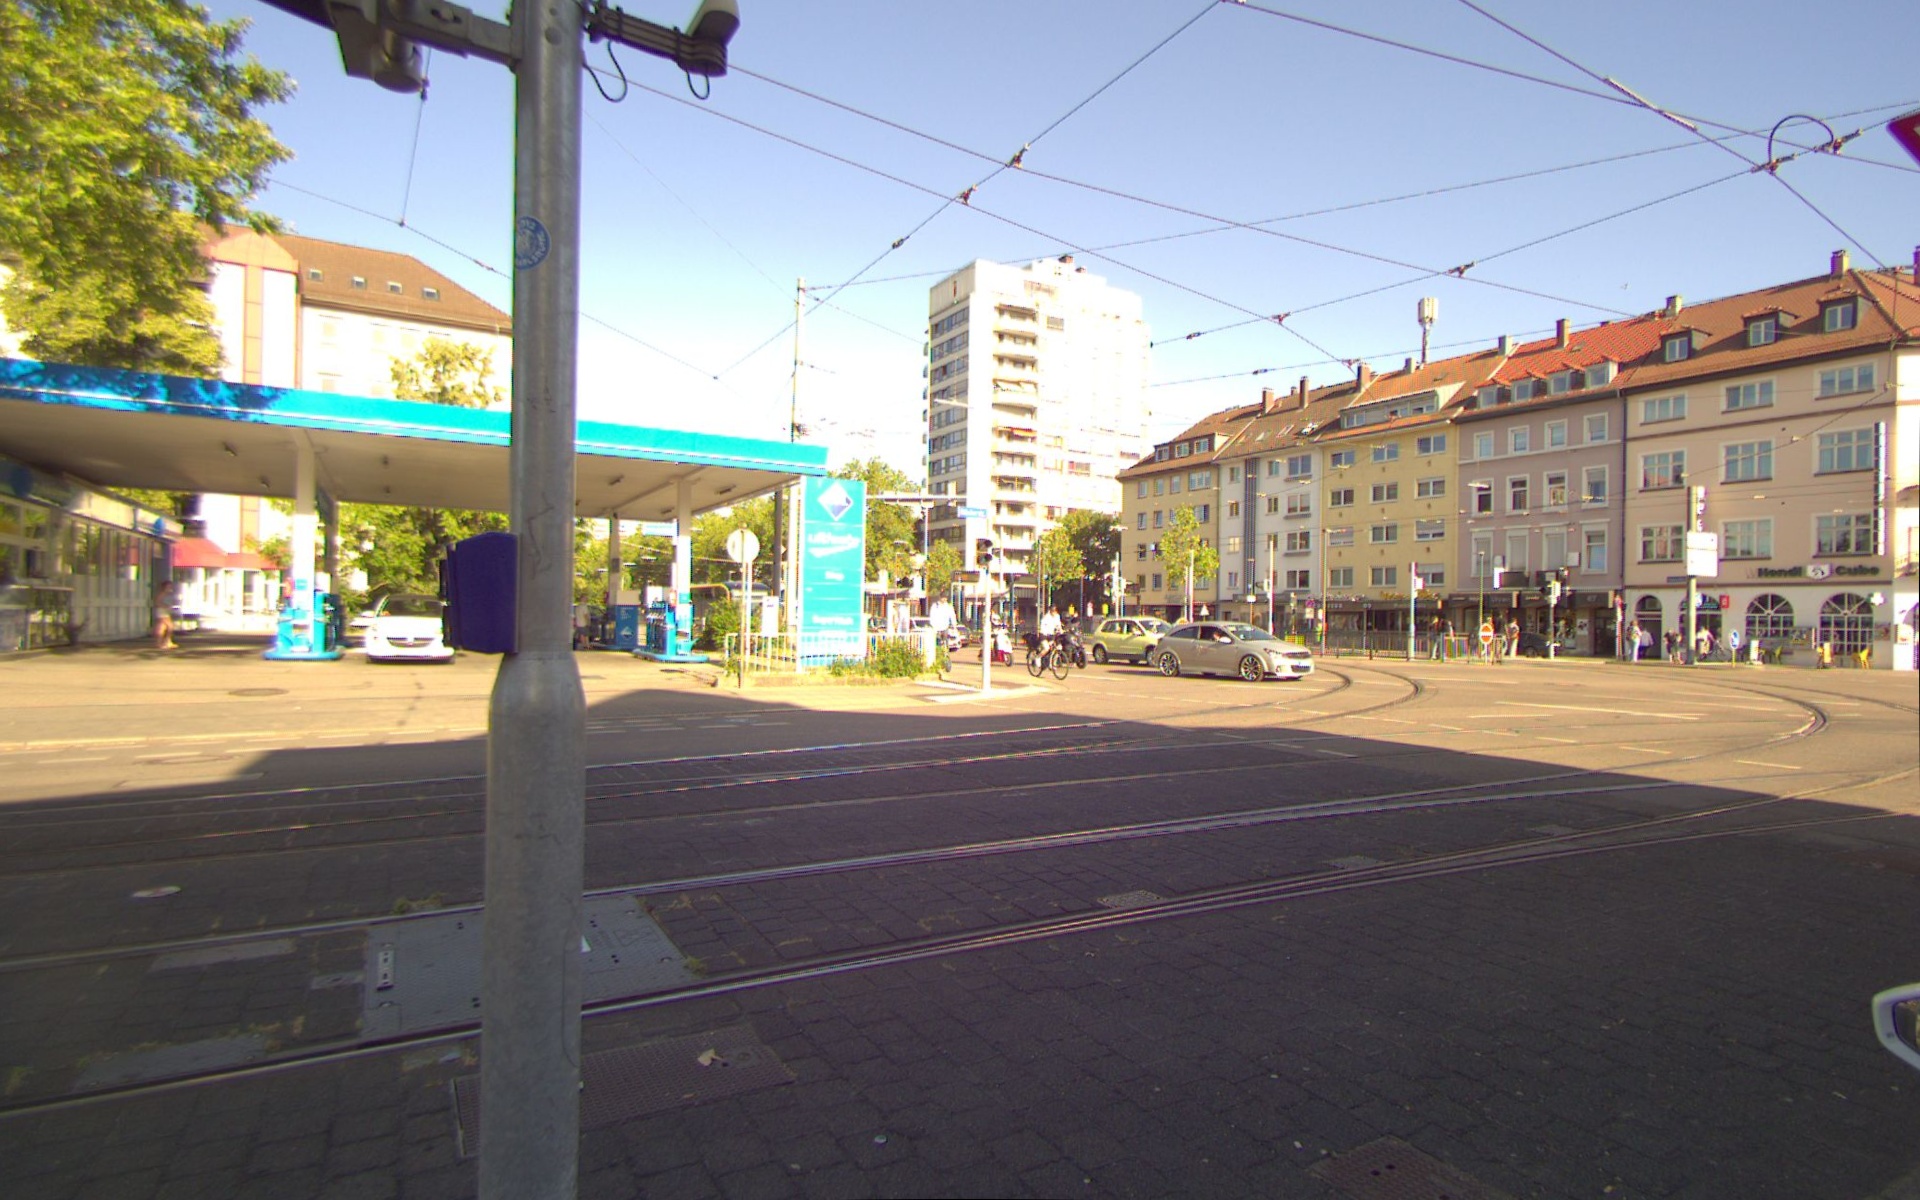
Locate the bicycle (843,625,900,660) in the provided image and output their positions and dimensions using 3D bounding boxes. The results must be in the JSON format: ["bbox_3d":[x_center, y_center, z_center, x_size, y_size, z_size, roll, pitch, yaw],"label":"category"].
[{"bbox_3d":[-3.037,1.433,34.238,1.047,1.116,2.500,1,-1,-29],"label":"bicycle"}]

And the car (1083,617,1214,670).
[{"bbox_3d":[5.780,1.305,31.178,1.724,1.518,3.929,1,-1,-35],"label":"car"}]

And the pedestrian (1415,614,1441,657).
[{"bbox_3d":[18.391,1.386,39.462,0.565,1.657,0.737,1,-1,-30],"label":"pedestrian"}]

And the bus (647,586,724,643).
[{"bbox_3d":[-18.147,0.859,65.891,2.755,3.504,8.571,0,1,-30],"label":"bus"}]

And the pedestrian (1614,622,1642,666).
[{"bbox_3d":[26.451,1.731,39.787,0.621,1.704,0.737,1,-1,-30],"label":"pedestrian"}]

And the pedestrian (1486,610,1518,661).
[{"bbox_3d":[20.119,1.315,37.302,0.714,1.853,0.763,1,-1,-30],"label":"pedestrian"}]

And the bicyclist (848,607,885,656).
[{"bbox_3d":[-3.234,1.064,34.604,0.923,1.659,1.020,1,-1,-29],"label":"bicyclist"}]

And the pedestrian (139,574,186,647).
[{"bbox_3d":[-18.984,0.250,23.917,0.751,1.715,0.583,1,-1,-28],"label":"pedestrian"}]

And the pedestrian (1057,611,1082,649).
[{"bbox_3d":[4.754,1.307,43.643,0.788,1.632,0.766,1,-1,-36],"label":"pedestrian"}]

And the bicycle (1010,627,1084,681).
[{"bbox_3d":[2.129,1.319,24.882,0.736,1.239,1.909,1,-1,-37],"label":"bicycle"}]

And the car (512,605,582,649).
[{"bbox_3d":[-13.578,0.852,32.880,1.697,1.360,3.970,1,-1,-28],"label":"car"}]

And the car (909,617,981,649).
[{"bbox_3d":[-0.775,1.530,47.871,1.697,1.439,4.149,1,-1,-28],"label":"car"}]

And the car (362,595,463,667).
[{"bbox_3d":[-12.357,0.666,22.559,1.793,1.461,3.966,1,-1,-31],"label":"car"}]

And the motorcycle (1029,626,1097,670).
[{"bbox_3d":[3.079,1.421,30.299,0.689,1.244,2.186,1,-1,-40],"label":"motorcycle"}]

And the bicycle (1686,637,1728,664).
[{"bbox_3d":[37.750,2.533,50.767,1.693,1.293,0.385,0,-1,44],"label":"bicycle"}]

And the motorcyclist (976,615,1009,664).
[{"bbox_3d":[1.018,1.245,31.783,0.654,1.527,0.807,1,-1,-41],"label":"motorcyclist"}]

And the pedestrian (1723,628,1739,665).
[{"bbox_3d":[26.961,1.631,35.139,0.447,1.270,0.361,1,-1,-41],"label":"pedestrian"}]

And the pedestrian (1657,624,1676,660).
[{"bbox_3d":[33.902,2.025,48.179,0.731,1.704,0.626,0,-1,35],"label":"pedestrian"}]

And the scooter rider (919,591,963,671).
[{"bbox_3d":[-0.463,0.751,24.601,0.788,1.937,0.791,1,0,-30],"label":"scooter rider"}]

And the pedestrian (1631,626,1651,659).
[{"bbox_3d":[36.252,2.244,53.491,0.623,1.704,0.734,1,-1,-41],"label":"pedestrian"}]

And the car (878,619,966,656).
[{"bbox_3d":[-1.699,1.571,43.503,1.723,1.492,4.644,1,-1,-33],"label":"car"}]

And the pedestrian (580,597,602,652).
[{"bbox_3d":[-11.836,0.780,32.209,0.579,1.715,0.756,1,-1,-25],"label":"pedestrian"}]

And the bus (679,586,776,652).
[{"bbox_3d":[-13.615,0.981,58.143,2.748,3.504,9.364,0,1,-31],"label":"bus"}]

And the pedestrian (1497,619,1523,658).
[{"bbox_3d":[24.181,1.681,44.153,0.621,1.704,0.763,1,-1,-30],"label":"pedestrian"}]

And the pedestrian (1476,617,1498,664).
[{"bbox_3d":[20.418,1.566,38.912,0.553,1.810,0.557,1,-1,-30],"label":"pedestrian"}]

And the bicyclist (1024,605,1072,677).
[{"bbox_3d":[2.166,1.004,24.839,0.727,1.735,0.932,1,-1,-37],"label":"bicyclist"}]

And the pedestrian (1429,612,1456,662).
[{"bbox_3d":[18.468,1.417,38.444,0.769,1.874,0.625,1,-1,-30],"label":"pedestrian"}]

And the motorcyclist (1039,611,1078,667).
[{"bbox_3d":[2.981,1.169,30.440,0.810,1.642,0.824,2,0,-41],"label":"motorcyclist"}]

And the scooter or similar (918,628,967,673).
[{"bbox_3d":[-0.437,1.223,24.592,0.558,1.057,1.424,1,-1,-30],"label":"scooter or similar"}]

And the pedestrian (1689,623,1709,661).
[{"bbox_3d":[34.567,1.957,46.969,0.731,1.704,0.626,0,-1,35],"label":"pedestrian"}]

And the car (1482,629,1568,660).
[{"bbox_3d":[30.744,2.400,54.779,1.795,1.511,3.715,2,0,-27],"label":"car"}]

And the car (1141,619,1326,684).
[{"bbox_3d":[6.594,1.213,24.589,1.725,1.459,4.239,2,-2,-36],"label":"car"}]

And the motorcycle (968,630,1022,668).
[{"bbox_3d":[1.089,1.521,31.670,0.500,1.133,2.008,1,-1,-40],"label":"motorcycle"}]

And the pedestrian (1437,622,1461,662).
[{"bbox_3d":[19.836,1.689,40.755,0.553,1.602,0.695,1,-1,-30],"label":"pedestrian"}]
